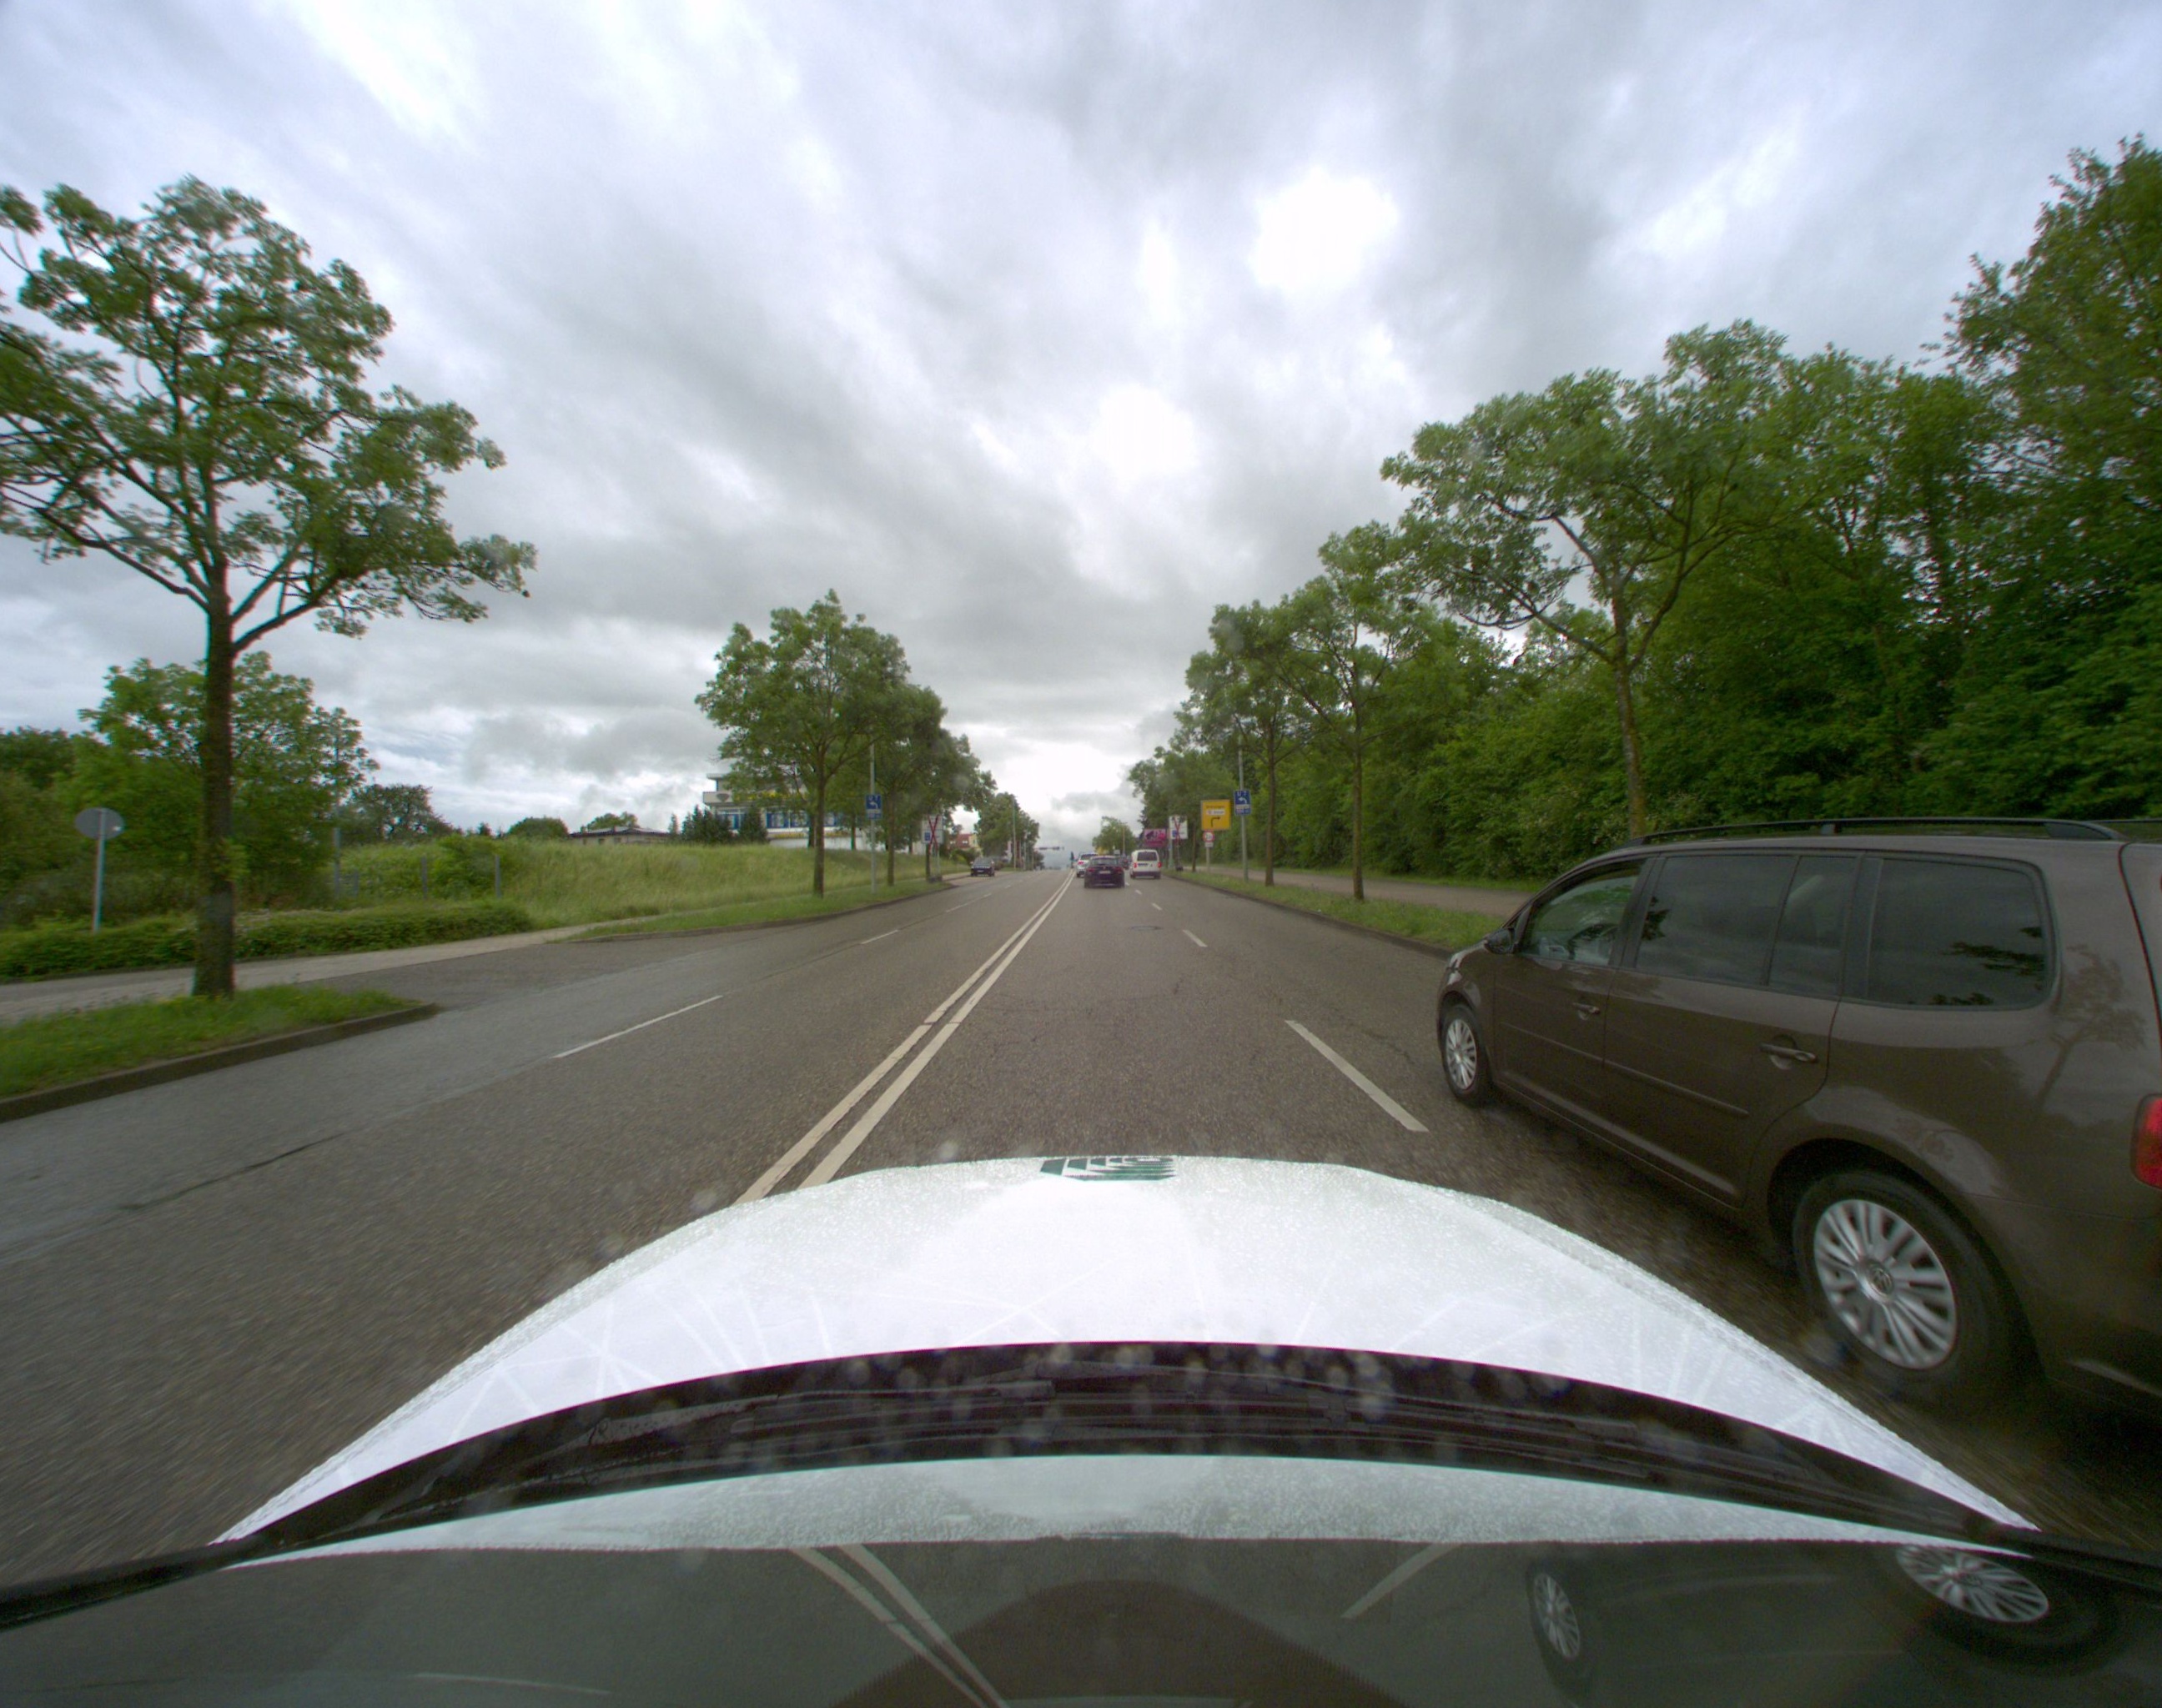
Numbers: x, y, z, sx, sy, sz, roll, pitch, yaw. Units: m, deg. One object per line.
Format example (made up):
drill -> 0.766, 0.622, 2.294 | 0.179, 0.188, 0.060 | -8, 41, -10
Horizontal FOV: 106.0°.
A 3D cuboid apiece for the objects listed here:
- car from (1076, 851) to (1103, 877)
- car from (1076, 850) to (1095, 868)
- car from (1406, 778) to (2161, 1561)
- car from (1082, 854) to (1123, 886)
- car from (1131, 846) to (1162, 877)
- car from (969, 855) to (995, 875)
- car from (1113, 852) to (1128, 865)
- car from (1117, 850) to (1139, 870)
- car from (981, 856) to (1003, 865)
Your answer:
car -> 0.596, 0.671, 55.854 | 1.721, 1.711, 3.385 | 0, 0, 3
car -> 0.460, 0.451, 81.481 | 1.751, 1.708, 3.947 | -2, 0, 2
car -> 3.090, 0.647, 3.606 | 1.708, 1.596, 4.131 | -1, 0, 1
car -> 1.048, 0.706, 38.281 | 1.847, 1.419, 3.959 | 0, 0, 2
car -> 4.071, 0.445, 51.234 | 1.735, 1.869, 3.947 | 0, 0, 2
car -> -8.623, 0.961, 71.270 | 1.720, 1.668, 4.487 | 0, 0, 0
car -> 4.275, 0.481, 88.456 | 1.594, 1.372, 3.681 | -2, 0, 1
car -> 4.159, 0.540, 72.940 | 1.807, 1.708, 3.947 | -2, 0, 2
car -> -15.629, 1.086, 142.805 | 3.823, 1.482, 1.737 | -1, -1, -8
